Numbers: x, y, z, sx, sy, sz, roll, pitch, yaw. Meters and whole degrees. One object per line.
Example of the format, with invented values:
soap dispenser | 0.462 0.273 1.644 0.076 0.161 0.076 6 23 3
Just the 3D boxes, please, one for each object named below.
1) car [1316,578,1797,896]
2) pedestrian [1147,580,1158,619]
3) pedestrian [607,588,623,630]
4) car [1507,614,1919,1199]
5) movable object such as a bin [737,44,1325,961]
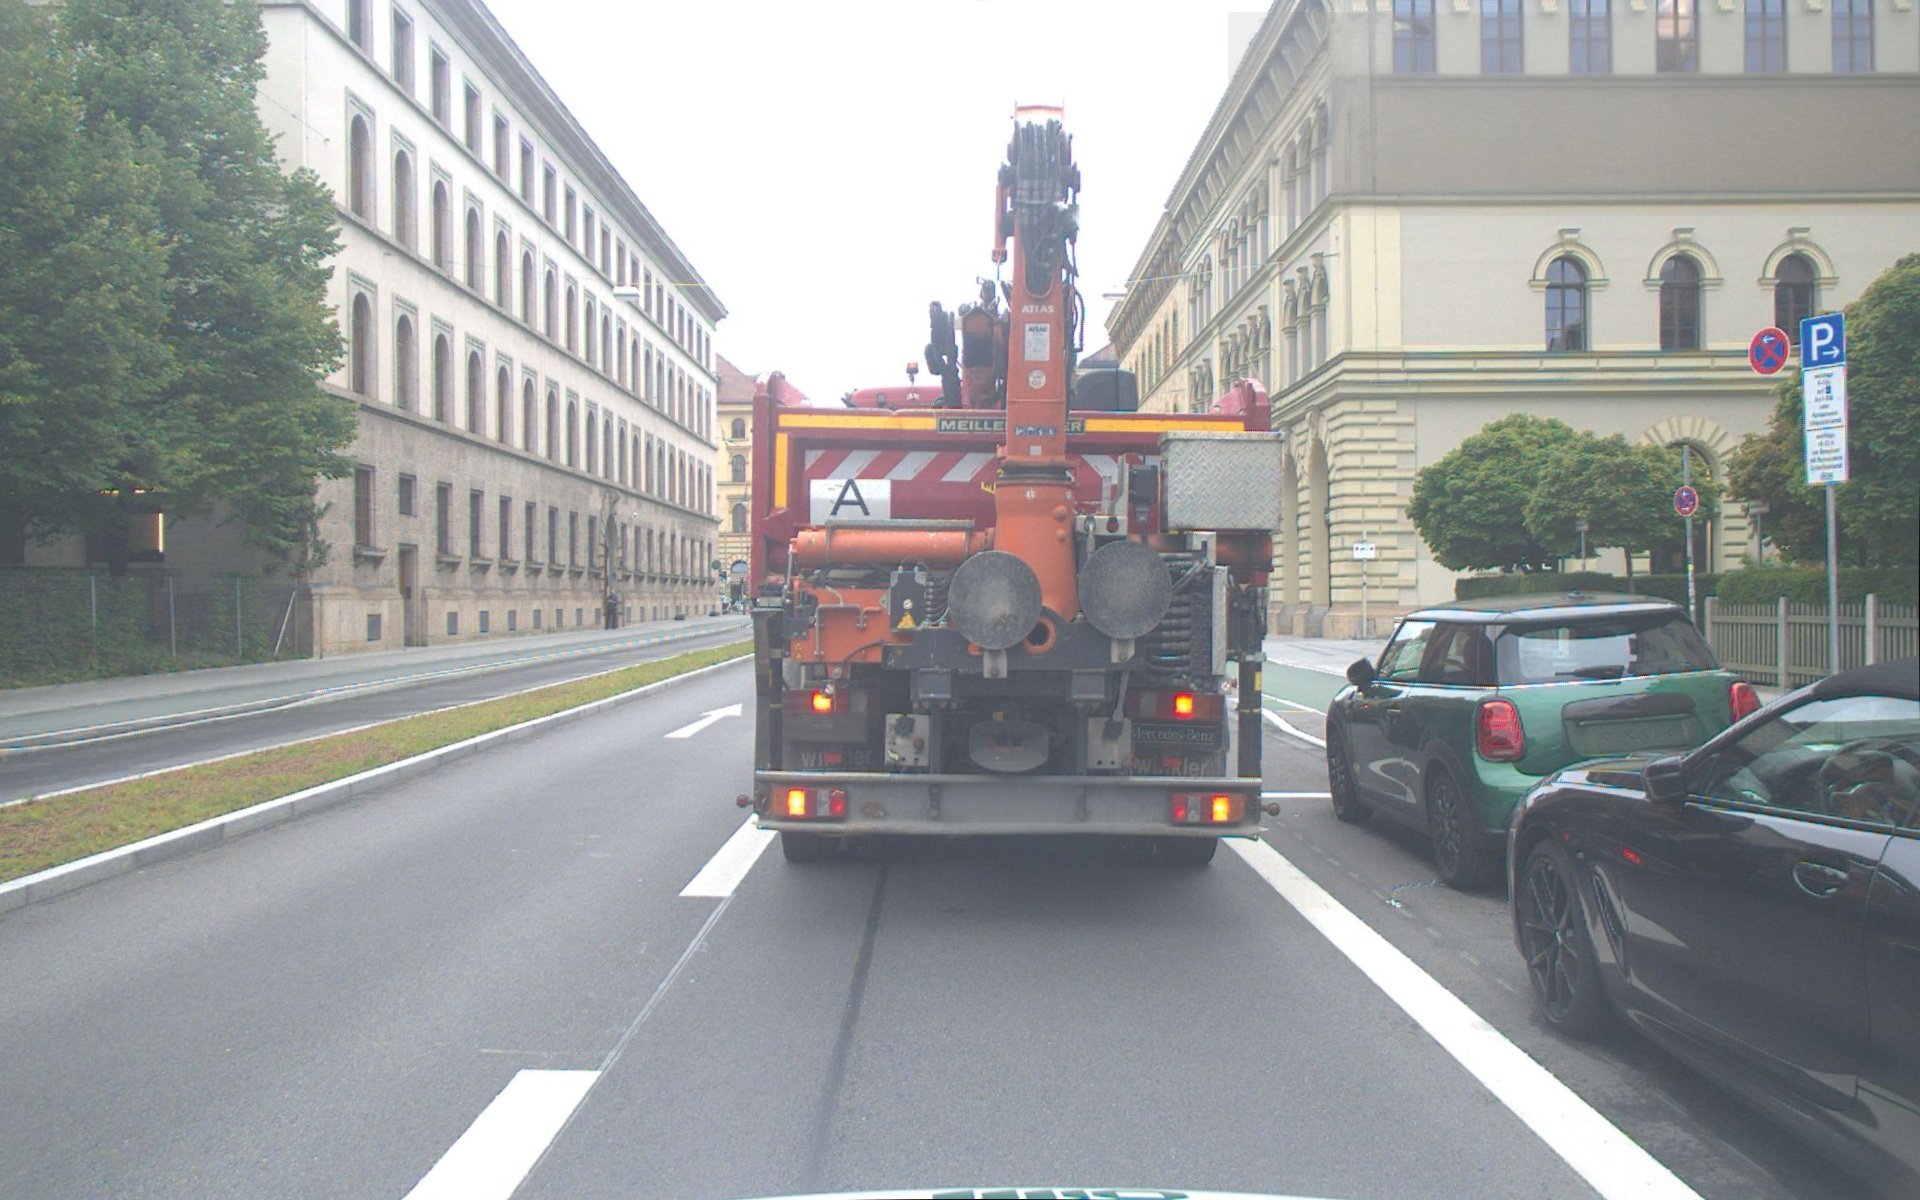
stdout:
car | 3.270 0.652 9.747 1.577 1.521 3.424 -1 0 0
pedestrian | 9.324 -0.037 80.048 0.436 1.868 0.556 -1 0 1
pedestrian | -15.354 0.400 73.586 0.577 1.863 0.498 0 0 -2
car | 2.882 0.778 3.996 1.646 1.410 4.426 0 0 0
movable object such as a bin | 0.233 -0.412 9.589 2.374 3.674 5.850 0 0 -1
